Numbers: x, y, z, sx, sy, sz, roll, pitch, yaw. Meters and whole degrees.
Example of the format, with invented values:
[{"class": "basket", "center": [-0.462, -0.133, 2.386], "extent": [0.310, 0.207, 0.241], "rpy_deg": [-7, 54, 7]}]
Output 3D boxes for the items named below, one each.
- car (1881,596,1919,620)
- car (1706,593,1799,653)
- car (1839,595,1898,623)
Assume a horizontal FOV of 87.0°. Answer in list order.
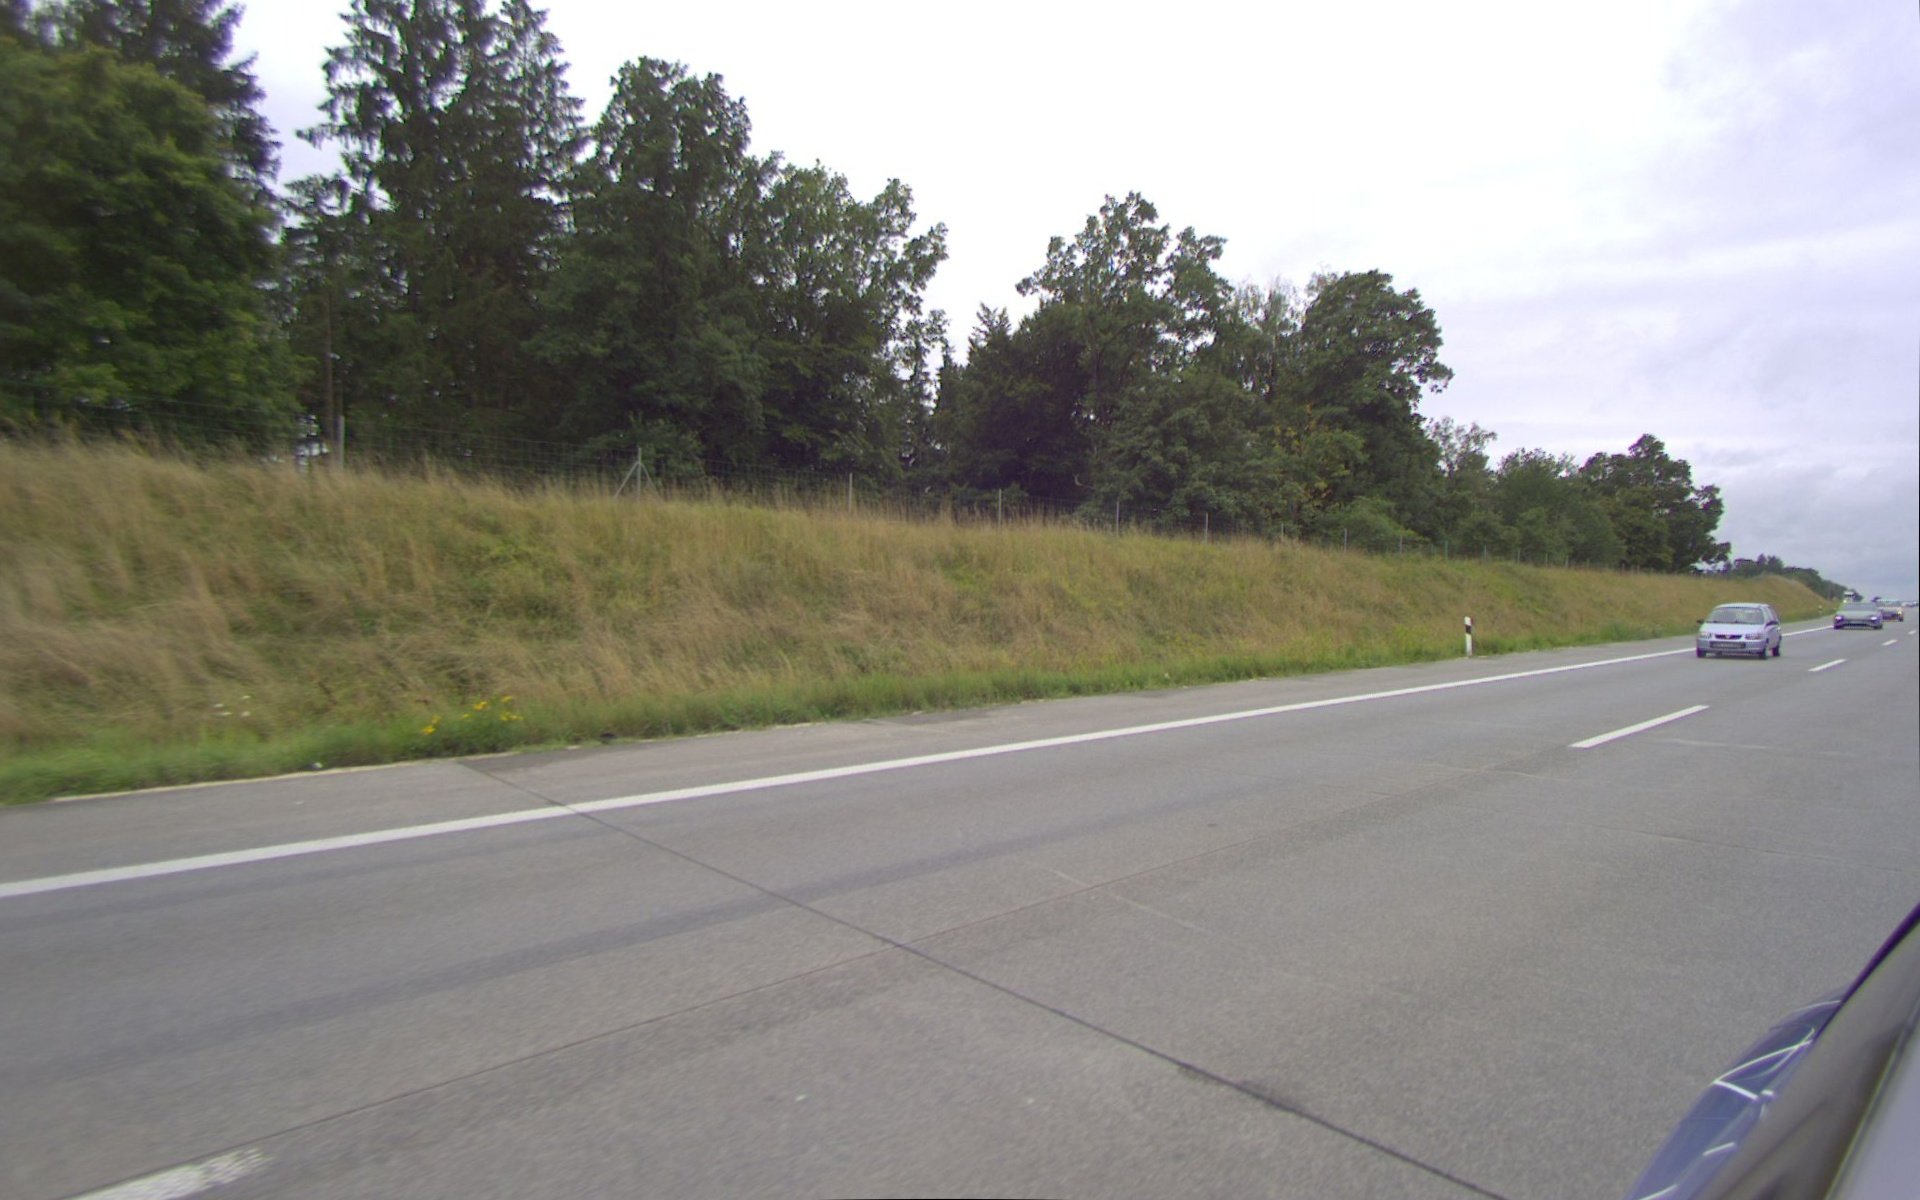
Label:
[{"class": "car", "center": [69.953, 0.596, 75.373], "extent": [1.784, 1.624, 4.503], "rpy_deg": [4, 2, 40]}, {"class": "car", "center": [21.316, 0.595, 27.194], "extent": [3.445, 1.489, 1.487], "rpy_deg": [1, 0, -44]}, {"class": "car", "center": [48.931, 0.509, 54.471], "extent": [4.665, 1.464, 2.016], "rpy_deg": [1, -1, -44]}]
